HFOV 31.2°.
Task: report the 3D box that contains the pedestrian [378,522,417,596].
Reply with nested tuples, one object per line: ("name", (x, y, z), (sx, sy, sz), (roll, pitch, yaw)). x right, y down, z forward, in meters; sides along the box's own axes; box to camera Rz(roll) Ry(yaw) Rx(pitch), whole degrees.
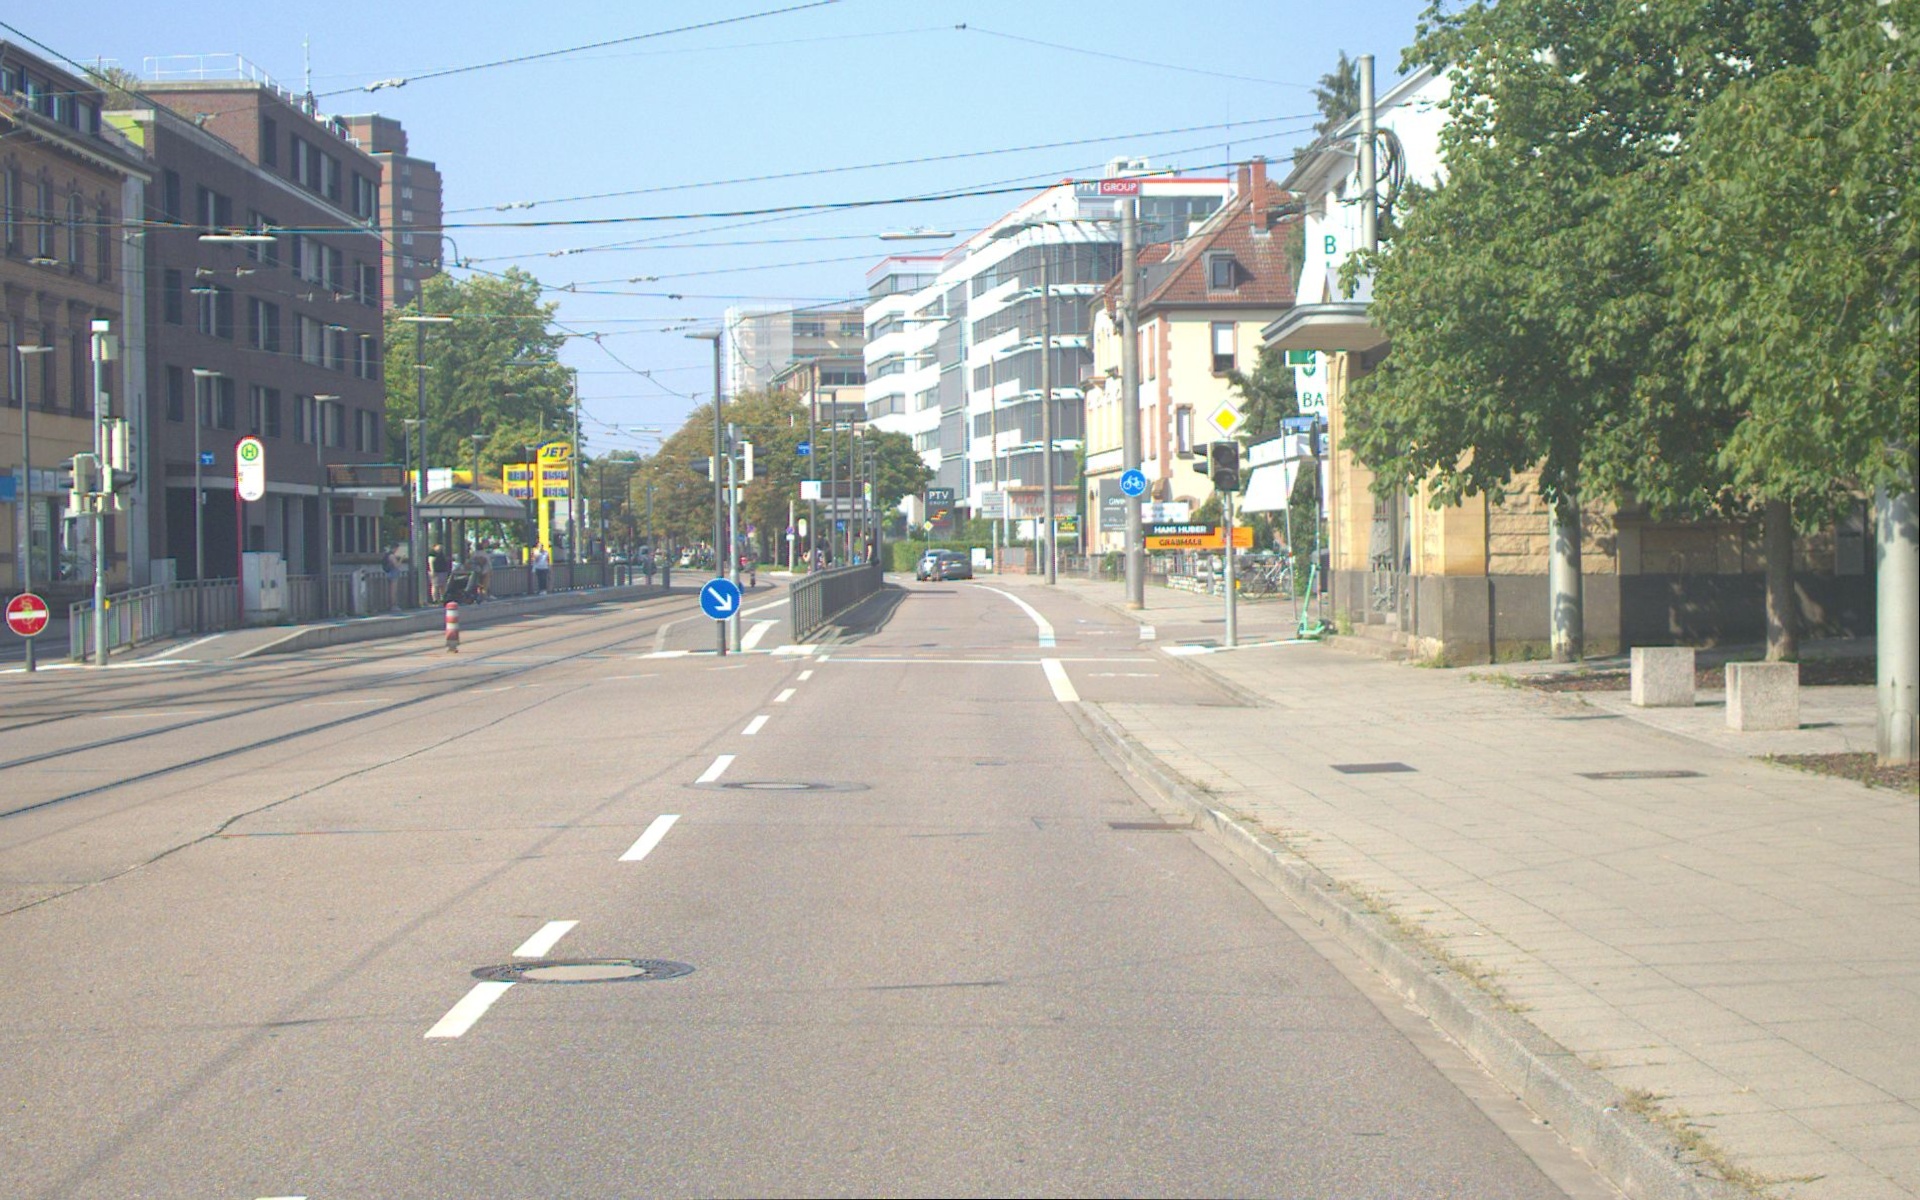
("pedestrian", (-13.286, -0.967, 81.177), (0.708, 1.717, 0.799), (-3, 1, 1))

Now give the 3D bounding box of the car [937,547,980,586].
("car", (-0.073, -1.700, 172.361), (2.011, 1.852, 4.000), (-3, 1, 1))

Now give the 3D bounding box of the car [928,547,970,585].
("car", (-0.542, -1.787, 178.414), (2.011, 1.852, 4.000), (-3, 1, 1))

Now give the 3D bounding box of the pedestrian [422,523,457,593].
("pedestrian", (-13.308, -1.075, 87.919), (0.708, 1.741, 0.799), (-3, 1, 1))

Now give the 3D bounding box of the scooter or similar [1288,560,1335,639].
("scooter or similar", (5.219, -0.017, 51.097), (0.523, 1.129, 1.511), (-3, 1, 1))

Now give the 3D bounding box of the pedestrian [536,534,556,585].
("pedestrian", (-12.518, -1.234, 104.025), (0.532, 1.525, 0.702), (-3, 1, -6))

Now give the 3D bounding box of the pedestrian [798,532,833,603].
("pedestrian", (-3.484, -0.786, 83.122), (0.720, 1.697, 0.884), (-2, 1, 1))

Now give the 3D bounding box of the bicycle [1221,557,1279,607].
("bicycle", (6.969, -0.438, 82.781), (0.731, 1.129, 2.840), (-4, 1, -7))
